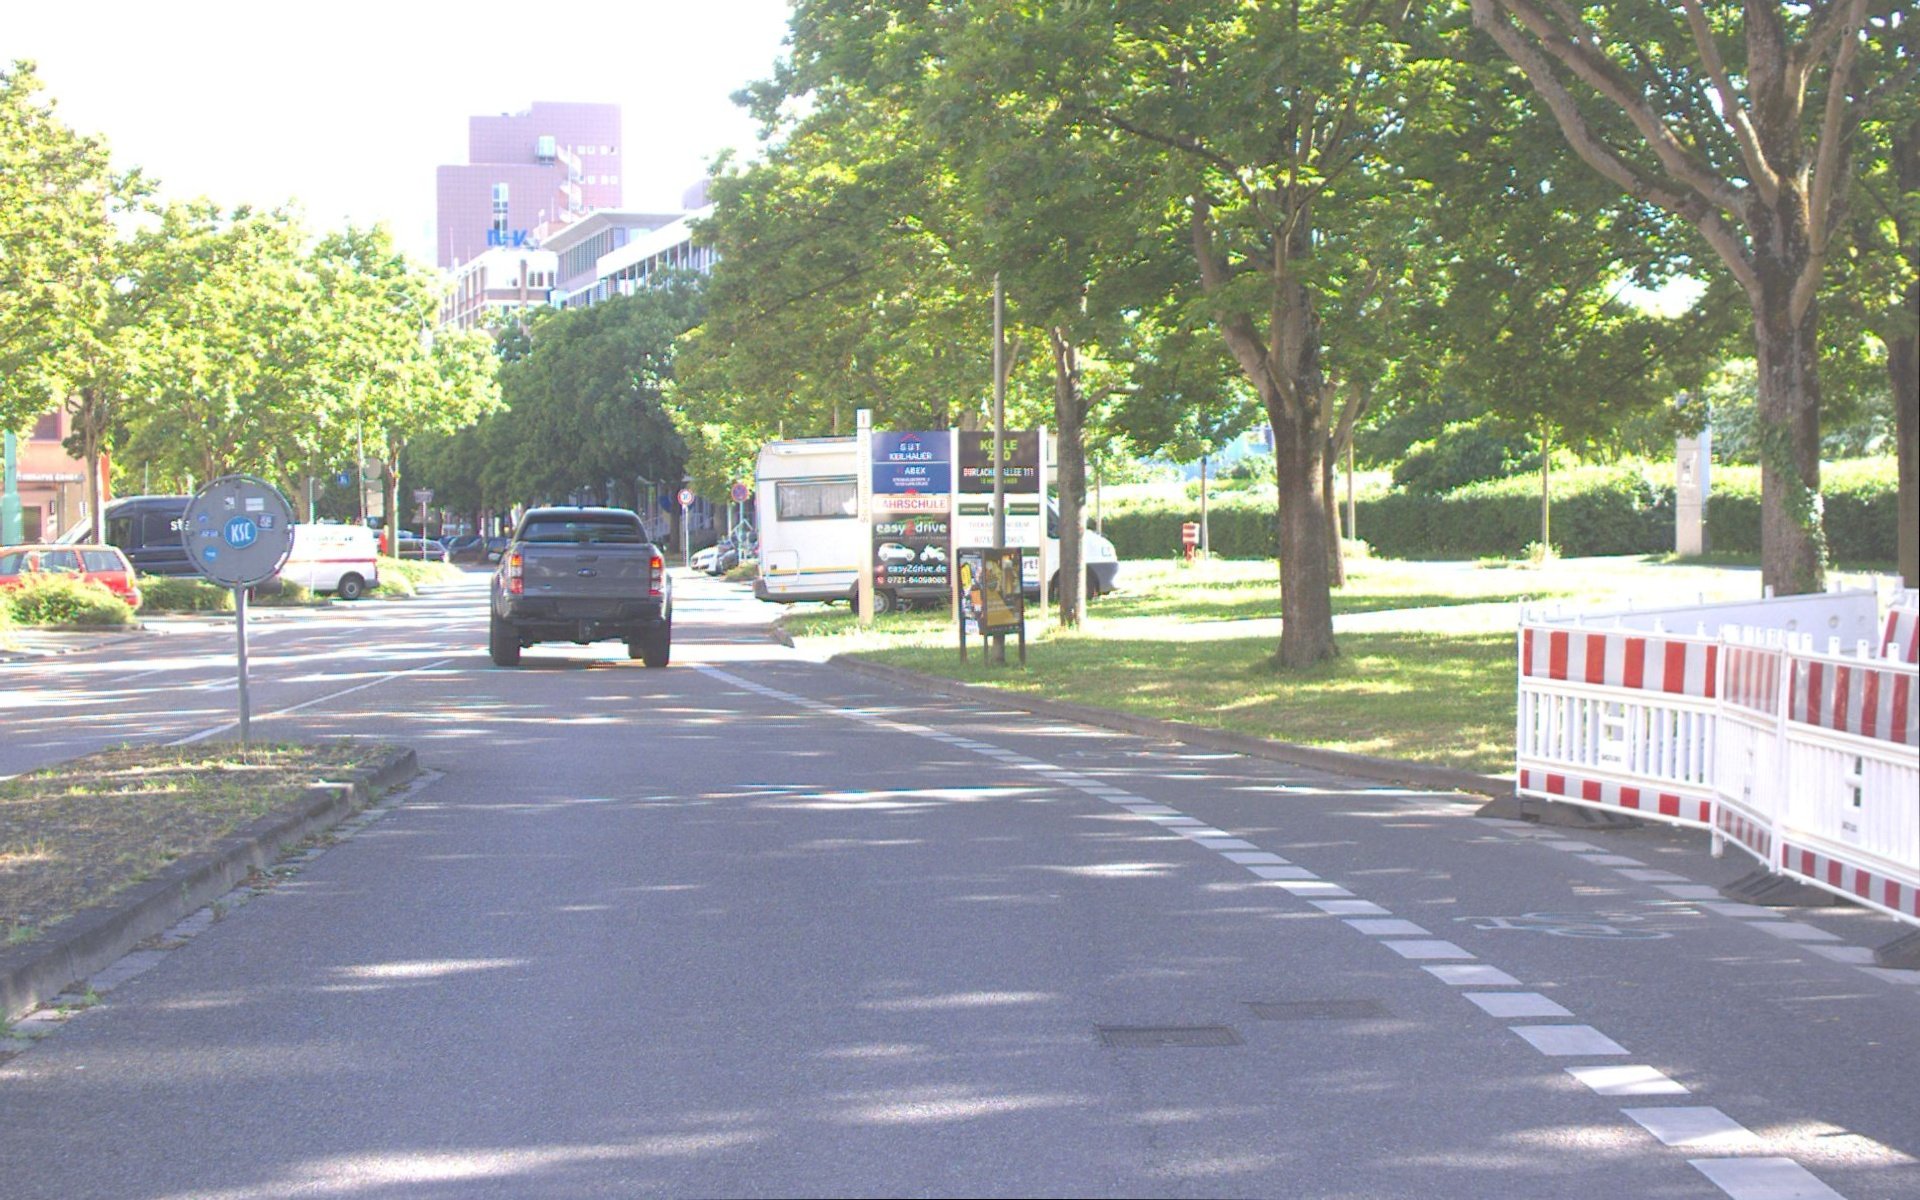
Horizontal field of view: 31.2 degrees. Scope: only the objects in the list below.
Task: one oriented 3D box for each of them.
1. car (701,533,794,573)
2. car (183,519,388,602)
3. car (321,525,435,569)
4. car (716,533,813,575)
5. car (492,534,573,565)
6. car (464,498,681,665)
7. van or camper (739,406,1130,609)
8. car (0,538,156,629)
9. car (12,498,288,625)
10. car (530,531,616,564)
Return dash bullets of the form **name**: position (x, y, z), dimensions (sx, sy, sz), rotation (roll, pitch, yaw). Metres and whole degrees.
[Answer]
- **car**: position (-7.610, -1.686, 122.817), dimensions (3.243, 1.273, 1.517), rotation (-3, 1, -4)
- **car**: position (-17.668, -1.045, 90.154), dimensions (4.885, 2.076, 1.985), rotation (-2, 1, -38)
- **car**: position (-20.694, -1.886, 122.143), dimensions (3.882, 1.360, 1.410), rotation (-3, 1, -12)
- **car**: position (-6.754, -1.590, 118.662), dimensions (3.243, 1.273, 1.517), rotation (-3, 1, -4)
- **car**: position (-21.867, -2.569, 175.698), dimensions (3.946, 1.392, 1.517), rotation (-3, 1, -12)
- **car**: position (-4.656, -0.280, 40.689), dimensions (2.132, 1.829, 4.942), rotation (-1, 2, -11)
- **van or camper**: position (-0.479, -1.500, 55.829), dimensions (6.078, 2.918, 2.576), rotation (-3, 1, -4)
- **car**: position (-16.785, -0.287, 61.284), dimensions (4.407, 1.547, 1.922), rotation (-2, 1, -27)
- **car**: position (-16.950, -0.830, 72.006), dimensions (5.260, 2.537, 1.986), rotation (-2, 1, -28)
- **car**: position (-18.810, -2.533, 167.110), dimensions (3.946, 1.392, 1.517), rotation (-3, 1, -12)
